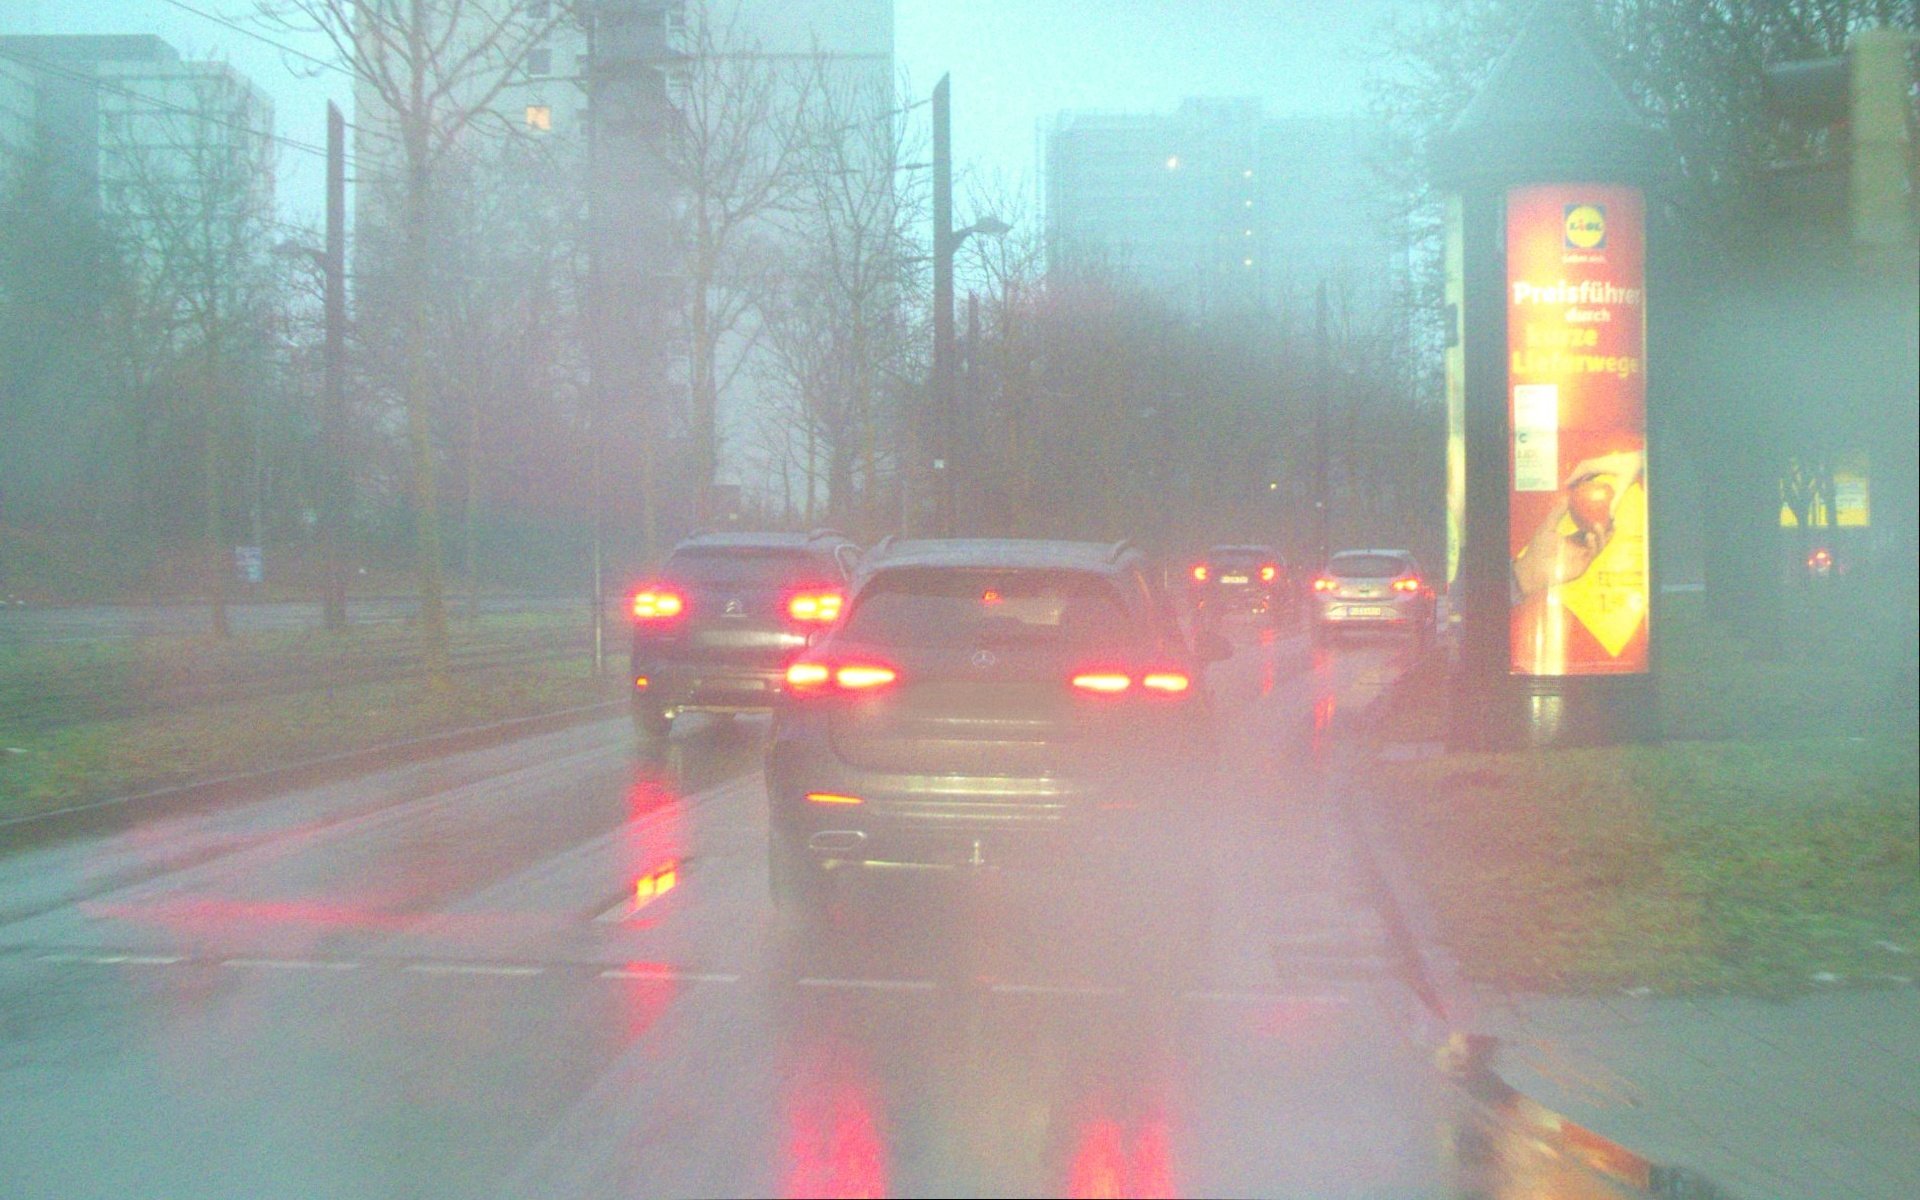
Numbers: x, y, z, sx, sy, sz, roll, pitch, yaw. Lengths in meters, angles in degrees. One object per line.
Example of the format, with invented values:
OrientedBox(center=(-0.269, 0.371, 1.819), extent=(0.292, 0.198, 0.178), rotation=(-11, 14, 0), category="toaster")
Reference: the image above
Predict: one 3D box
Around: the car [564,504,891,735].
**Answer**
OrientedBox(center=(-1.815, 0.155, 28.282), extent=(1.994, 1.706, 4.323), rotation=(1, 0, 5), category="car")

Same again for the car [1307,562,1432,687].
OrientedBox(center=(6.599, 0.385, 55.148), extent=(1.857, 1.885, 3.998), rotation=(1, 0, 8), category="car")

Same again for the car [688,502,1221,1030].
OrientedBox(center=(0.029, 0.641, 15.187), extent=(1.993, 1.969, 4.068), rotation=(1, 0, 1), category="car")

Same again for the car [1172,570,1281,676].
OrientedBox(center=(5.055, 0.434, 64.884), extent=(1.773, 1.885, 3.641), rotation=(1, 0, 8), category="car")
